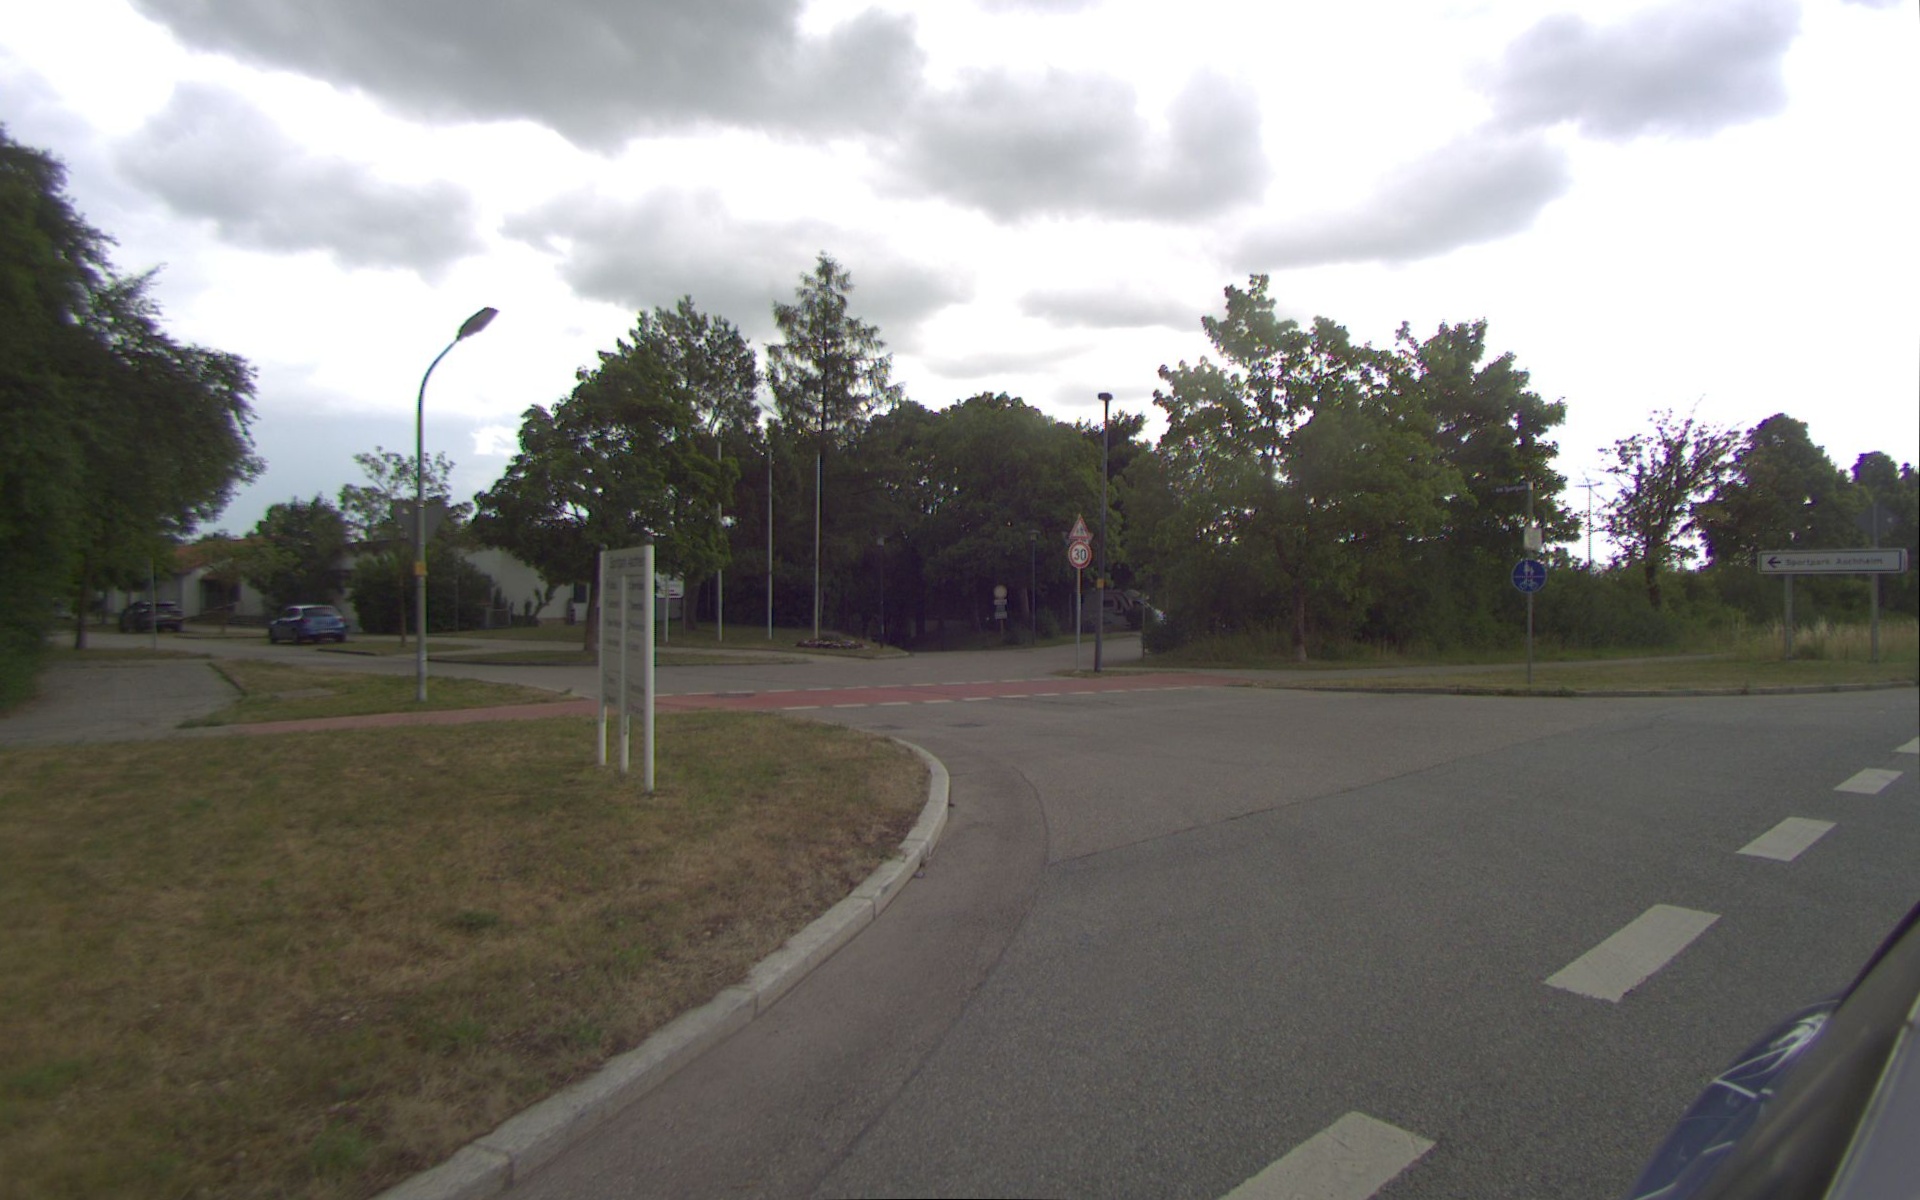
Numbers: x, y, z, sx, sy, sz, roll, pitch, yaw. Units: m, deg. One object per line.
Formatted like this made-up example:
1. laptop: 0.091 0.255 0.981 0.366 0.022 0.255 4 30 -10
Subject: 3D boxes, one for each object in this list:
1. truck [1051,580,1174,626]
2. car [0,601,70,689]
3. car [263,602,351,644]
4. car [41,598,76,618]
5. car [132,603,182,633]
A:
1. truck: 10.901 0.155 72.626 8.279 3.149 3.049 0 1 23
2. car: -18.515 0.849 17.918 1.784 1.488 3.941 2 3 41
3. car: -24.595 0.815 38.085 3.688 1.482 1.804 0 0 40
4. car: -78.129 0.644 87.702 3.985 1.631 1.915 1 1 42
5. car: -41.672 0.892 52.502 1.799 1.482 3.698 0 0 -43
